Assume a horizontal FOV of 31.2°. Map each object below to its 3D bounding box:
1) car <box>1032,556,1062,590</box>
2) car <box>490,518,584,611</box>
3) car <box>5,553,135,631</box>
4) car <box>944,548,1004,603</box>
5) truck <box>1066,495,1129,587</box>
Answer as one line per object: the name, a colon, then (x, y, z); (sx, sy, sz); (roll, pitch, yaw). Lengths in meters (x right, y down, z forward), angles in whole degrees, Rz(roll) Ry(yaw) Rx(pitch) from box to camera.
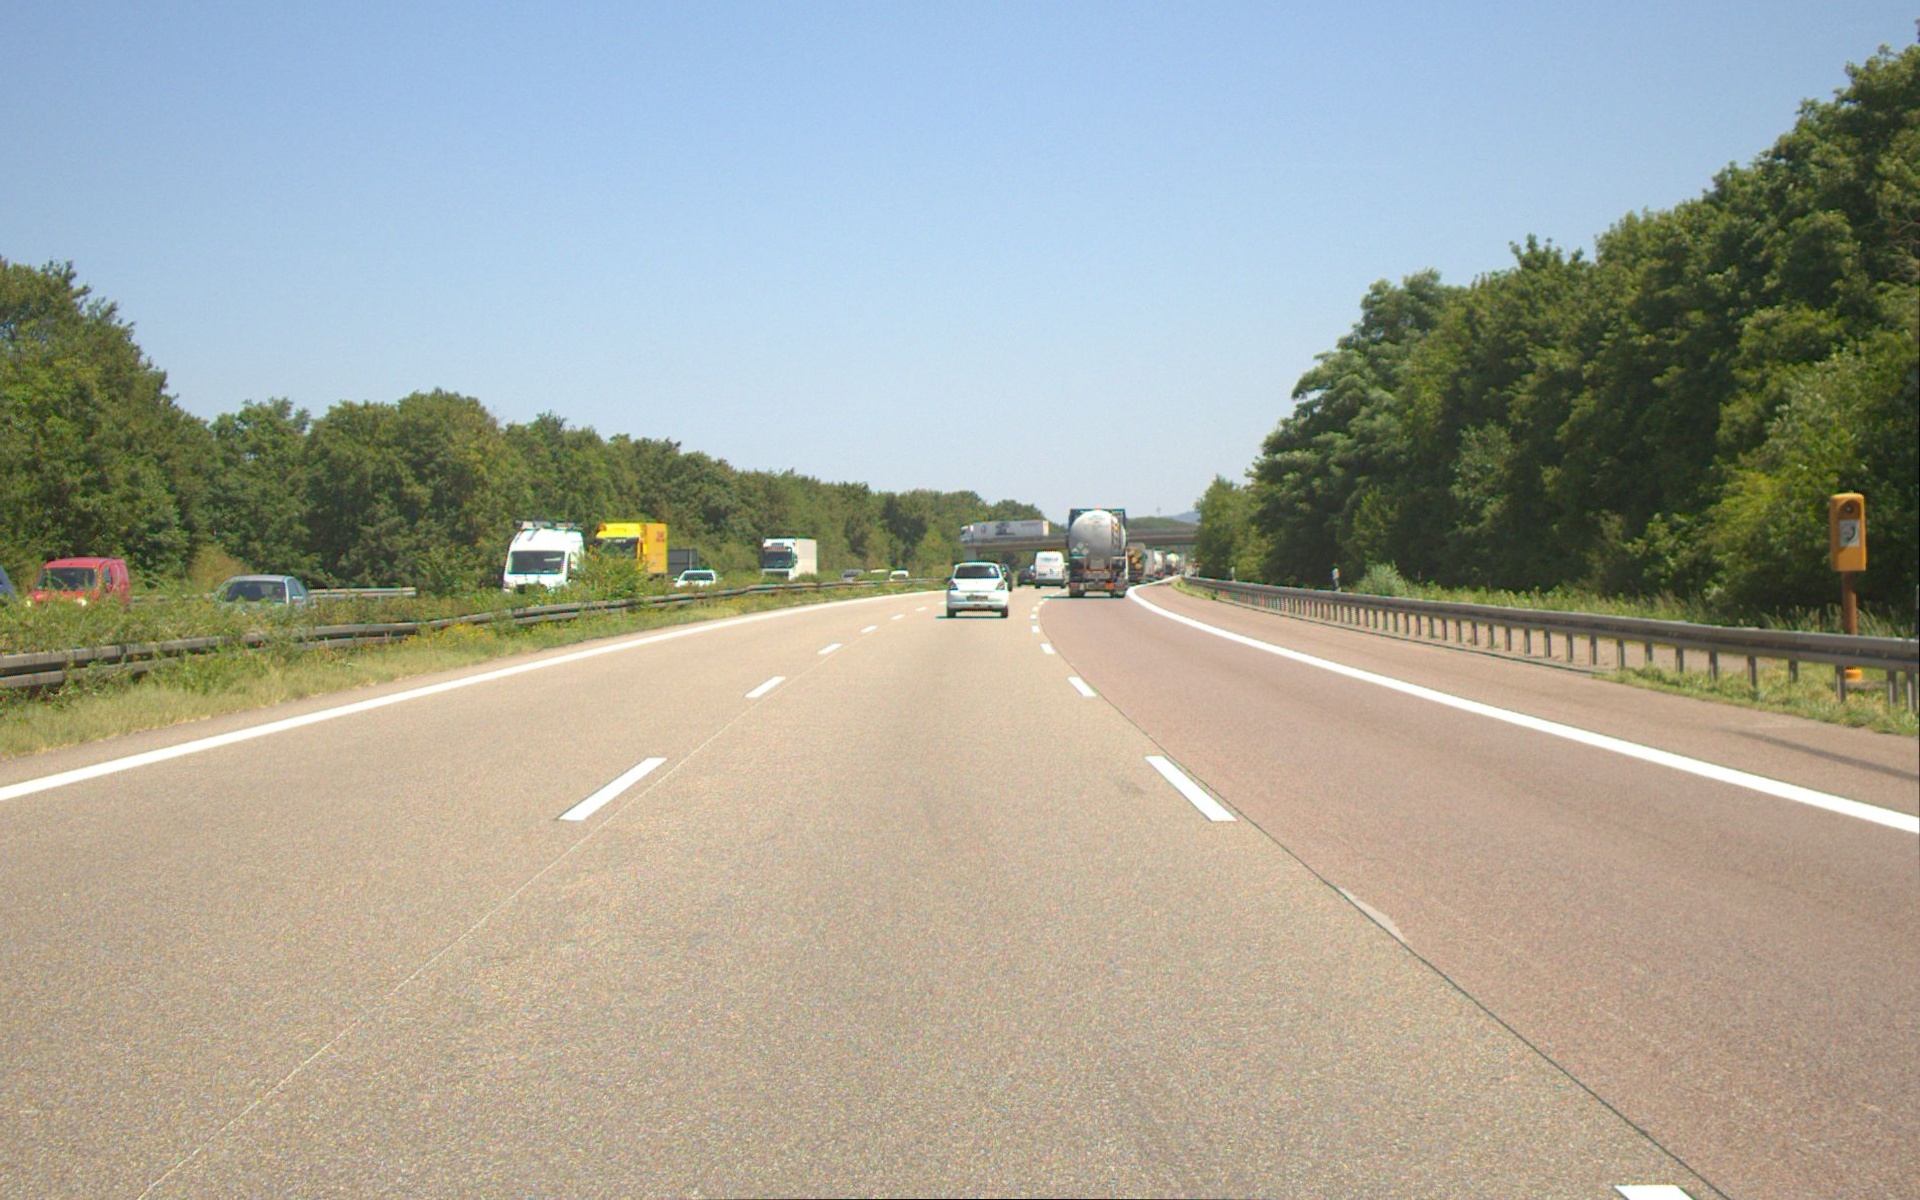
car: (6.000, -1.873, 236.306); (1.993, 2.335, 4.387); (0, 1, 2)
car: (-12.907, -1.101, 105.264); (2.088, 2.769, 5.829); (0, 1, 1)
car: (-20.889, -0.211, 80.843); (1.704, 1.770, 4.767); (0, 1, 2)
car: (0.399, -0.678, 95.435); (1.627, 1.474, 4.000); (0, 0, 1)
truck: (6.312, -2.631, 156.557); (2.739, 4.038, 10.453); (0, 0, 3)
